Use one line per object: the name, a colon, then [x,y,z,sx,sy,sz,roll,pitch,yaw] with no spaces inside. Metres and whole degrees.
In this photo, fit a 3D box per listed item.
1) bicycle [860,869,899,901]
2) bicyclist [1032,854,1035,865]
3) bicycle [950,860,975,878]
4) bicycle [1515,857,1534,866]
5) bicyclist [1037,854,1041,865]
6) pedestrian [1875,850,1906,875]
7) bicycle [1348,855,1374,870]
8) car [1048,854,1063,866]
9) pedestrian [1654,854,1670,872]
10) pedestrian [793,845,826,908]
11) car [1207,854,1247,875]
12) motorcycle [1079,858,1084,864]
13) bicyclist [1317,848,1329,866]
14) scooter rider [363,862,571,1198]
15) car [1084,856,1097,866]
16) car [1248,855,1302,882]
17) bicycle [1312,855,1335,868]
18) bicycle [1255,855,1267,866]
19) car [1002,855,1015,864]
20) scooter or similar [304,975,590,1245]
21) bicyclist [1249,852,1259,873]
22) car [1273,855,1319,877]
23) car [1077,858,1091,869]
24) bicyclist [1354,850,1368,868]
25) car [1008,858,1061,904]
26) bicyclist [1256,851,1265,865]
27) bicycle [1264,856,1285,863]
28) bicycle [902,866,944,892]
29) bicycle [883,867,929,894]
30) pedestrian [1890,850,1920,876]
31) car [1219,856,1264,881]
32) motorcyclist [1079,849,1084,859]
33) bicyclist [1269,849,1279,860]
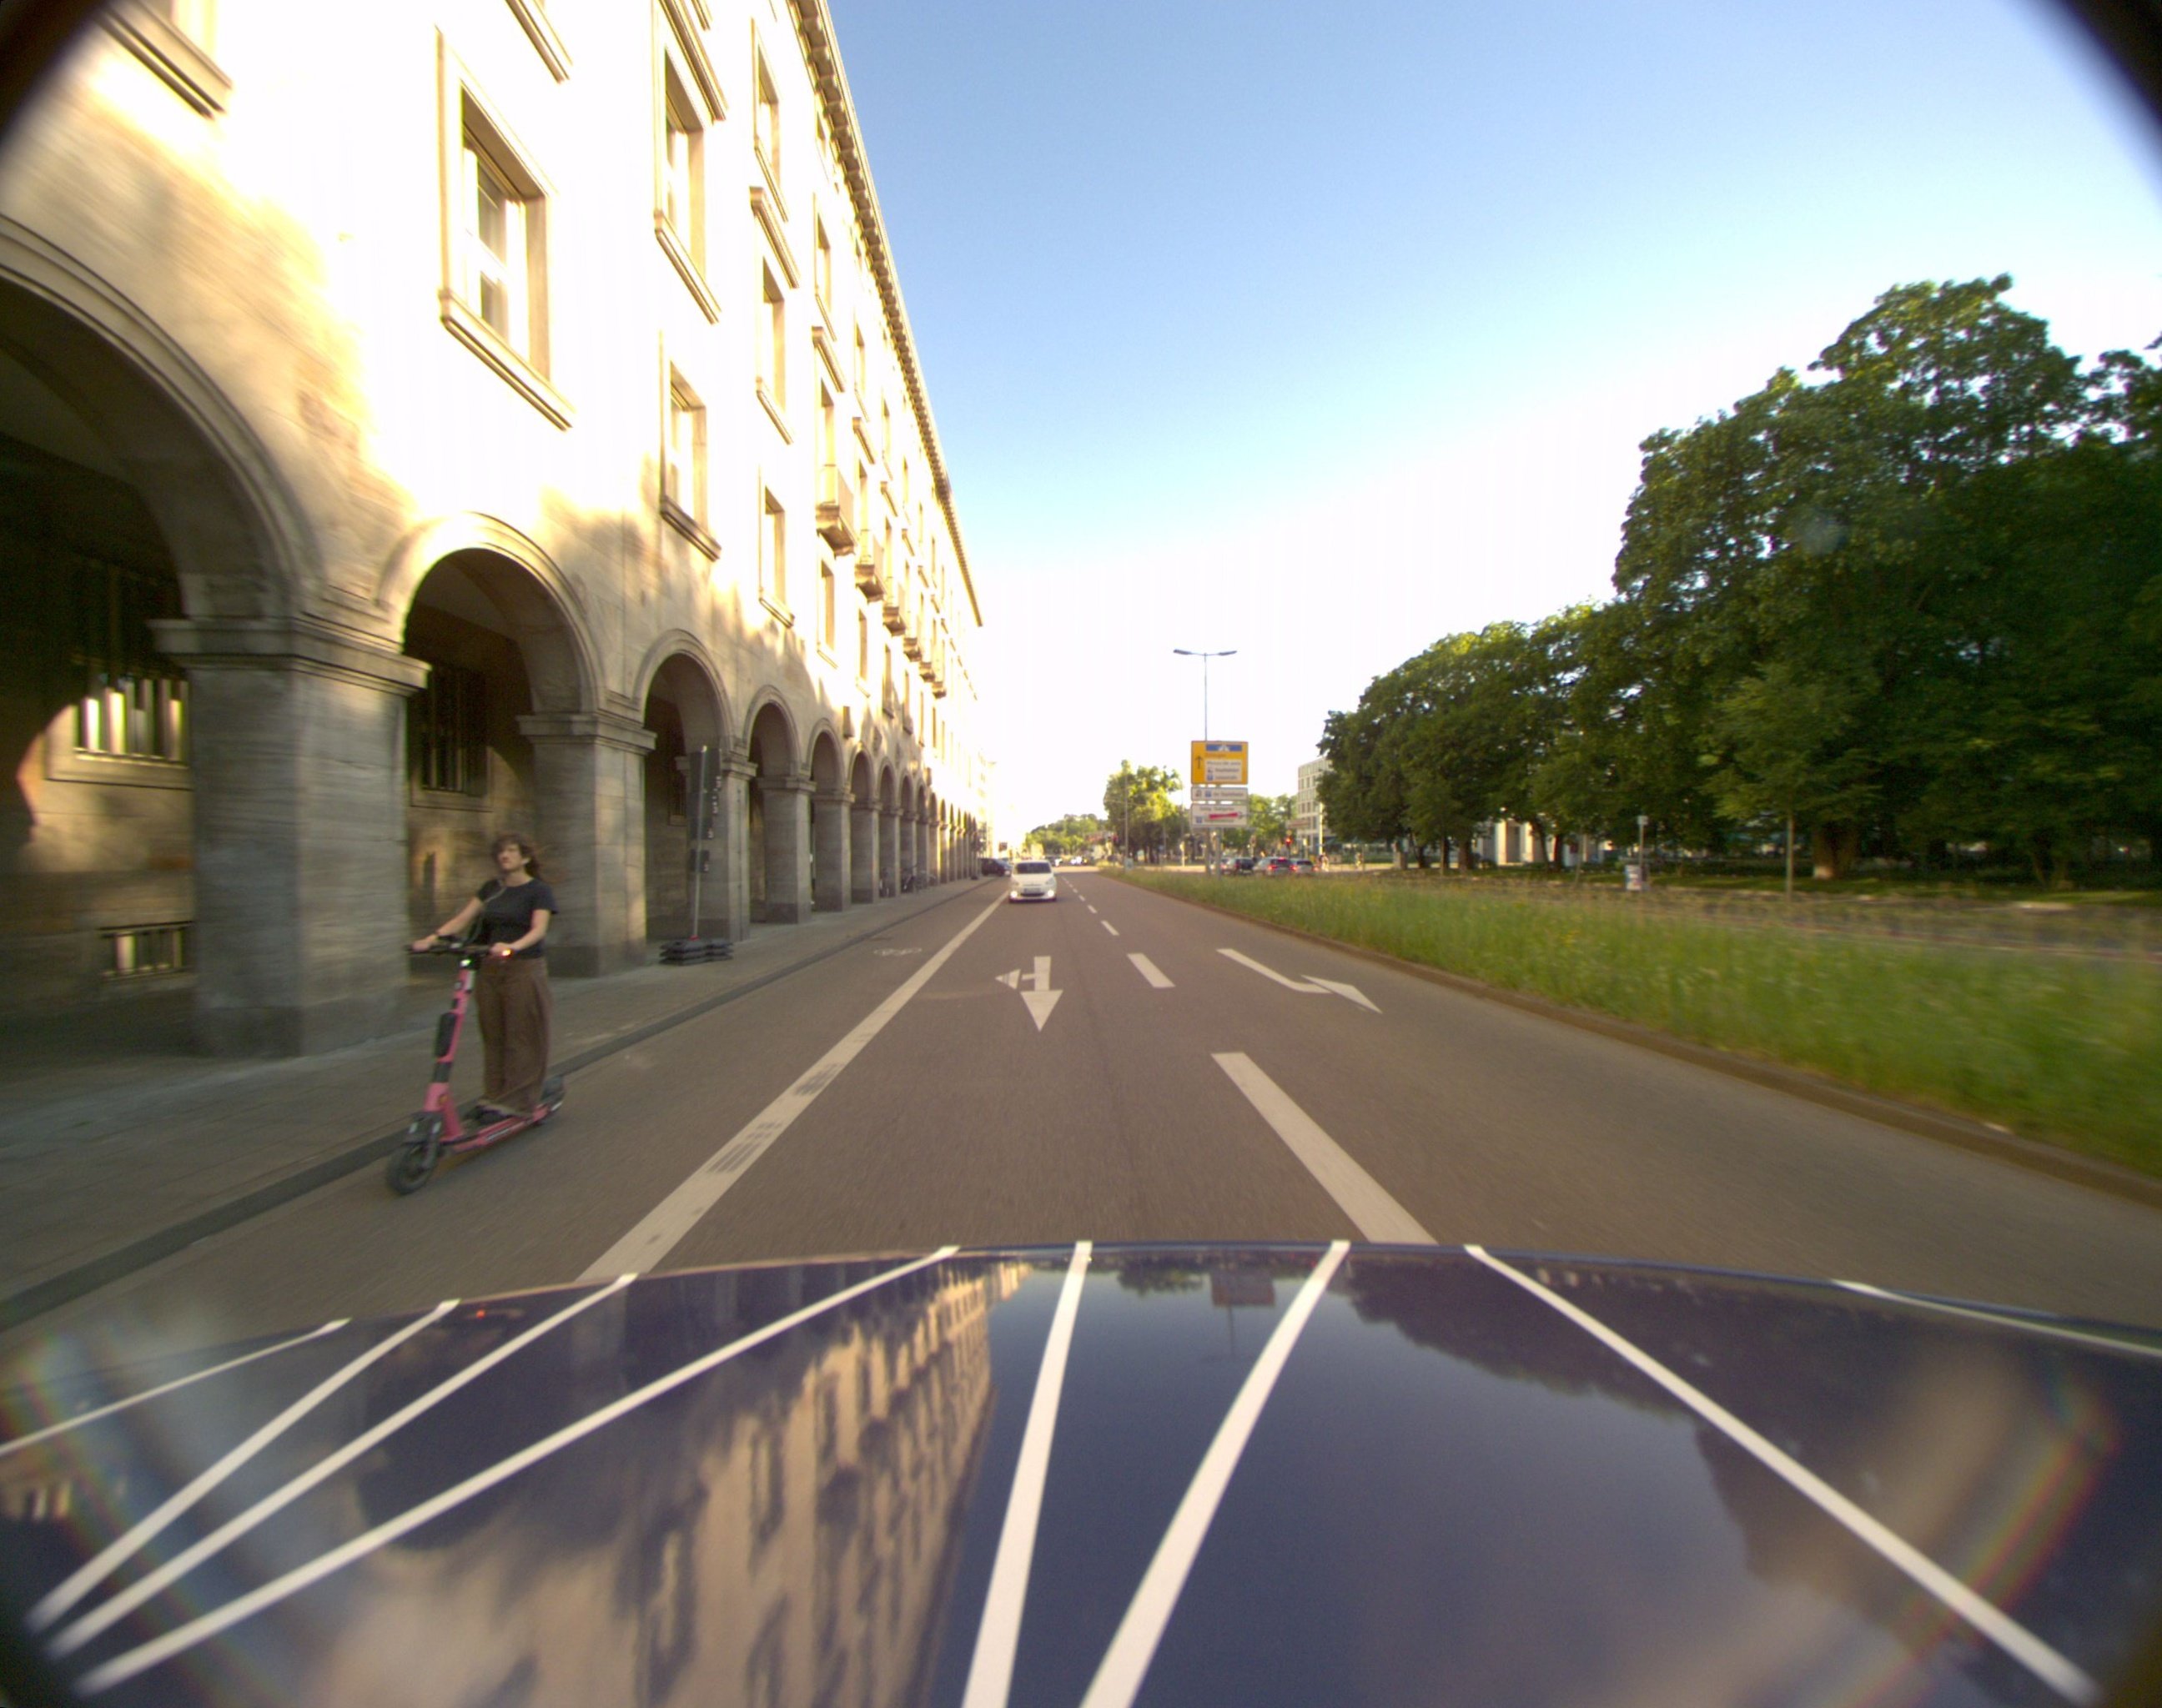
bicycle: [-6.966,1.041,26.308,0.471,1.044,1.716,2,0,17]
bicyclist: [-6.631,0.757,106.752,0.358,1.567,0.535,0,1,-2]
bicycle: [-8.092,1.019,51.990,1.708,1.126,0.666,2,0,38]
bicycle: [44.149,0.744,75.659,0.770,0.884,1.604,0,0,-11]
bicyclist: [-5.929,0.776,106.931,0.454,1.567,0.535,0,1,-2]
pedestrian: [43.476,0.470,40.812,0.908,1.332,0.665,0,1,1]
bicycle: [27.783,0.878,75.410,2.311,1.231,0.779,4,-7,-2]
car: [-3.669,0.835,108.449,1.999,1.564,4.548,0,0,-2]
pedestrian: [42.662,0.675,55.799,0.733,1.332,0.599,0,1,1]
pedestrian: [-8.094,0.654,22.677,0.630,1.822,0.964,1,0,-2]
car: [11.101,0.779,58.035,1.999,1.551,4.548,0,0,-2]
motorcycle: [0.067,0.994,108.868,0.623,0.791,1.309,0,0,-1]
bicyclist: [23.836,0.303,74.797,0.838,1.734,0.754,0,2,-3]
scooter rider: [-3.197,0.857,4.016,0.563,1.622,0.650,0,1,-2]
car: [1.505,1.119,124.263,1.999,1.564,4.548,0,0,-2]
car: [11.418,0.824,45.015,1.999,1.555,4.059,0,0,-2]
bicycle: [23.870,0.738,74.820,2.020,1.233,0.778,0,2,-3]
bicycle: [20.456,0.705,86.419,0.844,1.223,2.018,0,0,27]
car: [-12.655,0.881,133.482,1.999,1.564,4.548,0,0,-2]
scooter or similar: [-3.197,1.234,3.960,0.557,1.025,1.117,0,0,-1]
bicyclist: [13.840,0.701,60.883,0.782,1.669,0.839,1,1,12]
car: [15.662,0.865,55.689,1.938,1.517,4.586,1,0,-1]
car: [0.426,1.458,114.755,1.999,1.564,4.548,0,0,-2]
bicyclist: [27.724,0.492,75.300,0.925,1.681,0.775,4,2,-3]
car: [-1.592,0.920,27.225,1.678,1.455,3.764,-1,0,-1]
bicyclist: [20.433,0.419,86.380,0.850,1.610,0.974,0,1,27]
bicycle: [23.385,0.667,91.707,2.334,0.846,0.843,0,0,-3]
bicycle: [-6.717,1.064,32.311,1.715,1.044,0.527,1,0,-17]
bicycle: [-6.973,1.048,30.349,0.610,1.044,1.717,2,0,41]
pedestrian: [43.474,0.473,40.102,0.828,1.332,0.716,0,0,1]
car: [10.982,0.964,52.383,1.999,1.666,4.548,0,0,-2]
motorcyclist: [0.078,0.008,108.867,0.607,1.438,0.736,0,1,-2]
bicyclist: [23.264,0.021,91.652,0.972,1.354,0.826,0,1,0]
